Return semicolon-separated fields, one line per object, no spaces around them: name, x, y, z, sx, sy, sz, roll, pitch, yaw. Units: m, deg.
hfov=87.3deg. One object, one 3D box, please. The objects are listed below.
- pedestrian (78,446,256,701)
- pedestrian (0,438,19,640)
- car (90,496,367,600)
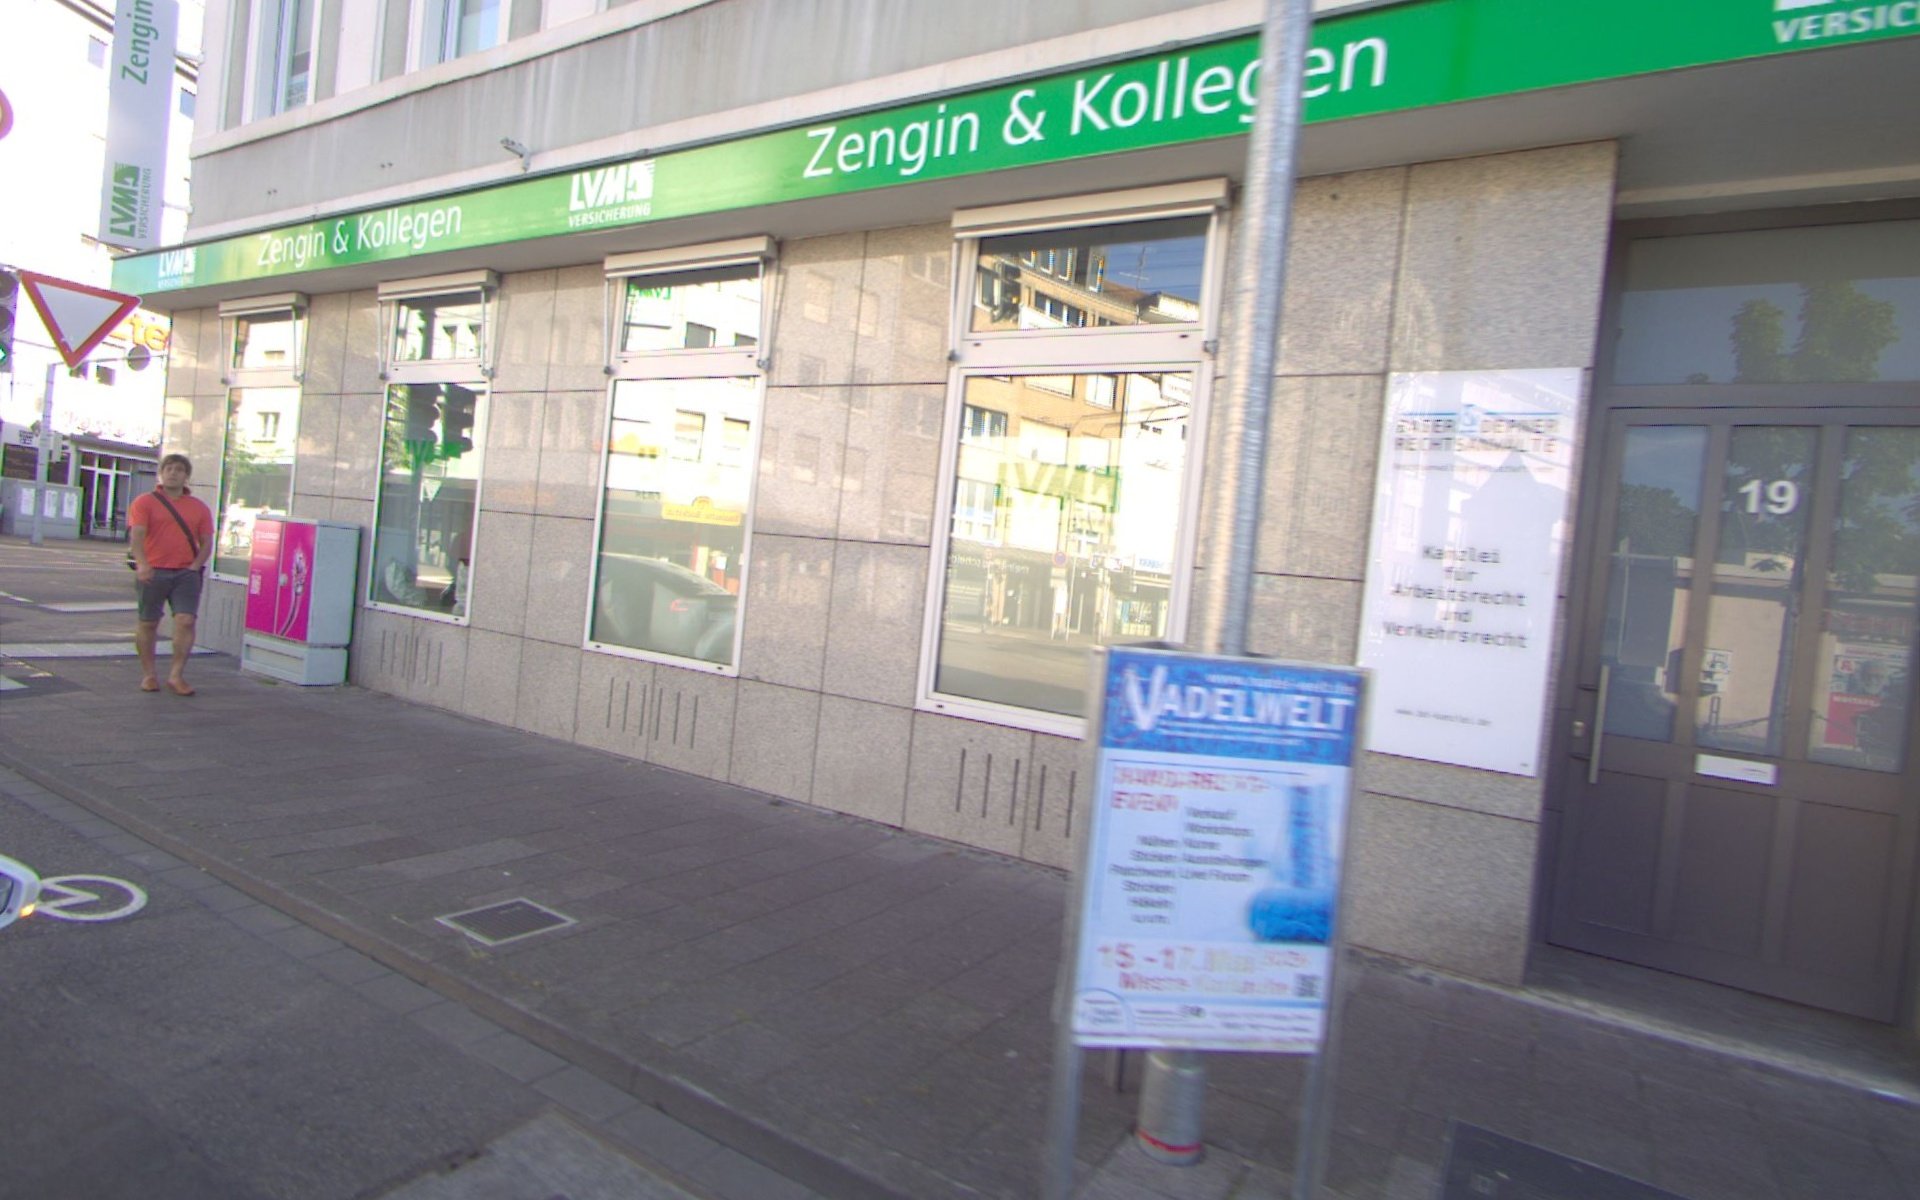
pedestrian;-5.792;-0.198;7.349;0.897;1.725;0.690;6;2;32
pedestrian;-8.548;-0.522;8.521;0.638;1.781;0.573;6;1;31
car;-13.117;-0.843;18.447;1.734;1.436;4.355;6;-1;1
